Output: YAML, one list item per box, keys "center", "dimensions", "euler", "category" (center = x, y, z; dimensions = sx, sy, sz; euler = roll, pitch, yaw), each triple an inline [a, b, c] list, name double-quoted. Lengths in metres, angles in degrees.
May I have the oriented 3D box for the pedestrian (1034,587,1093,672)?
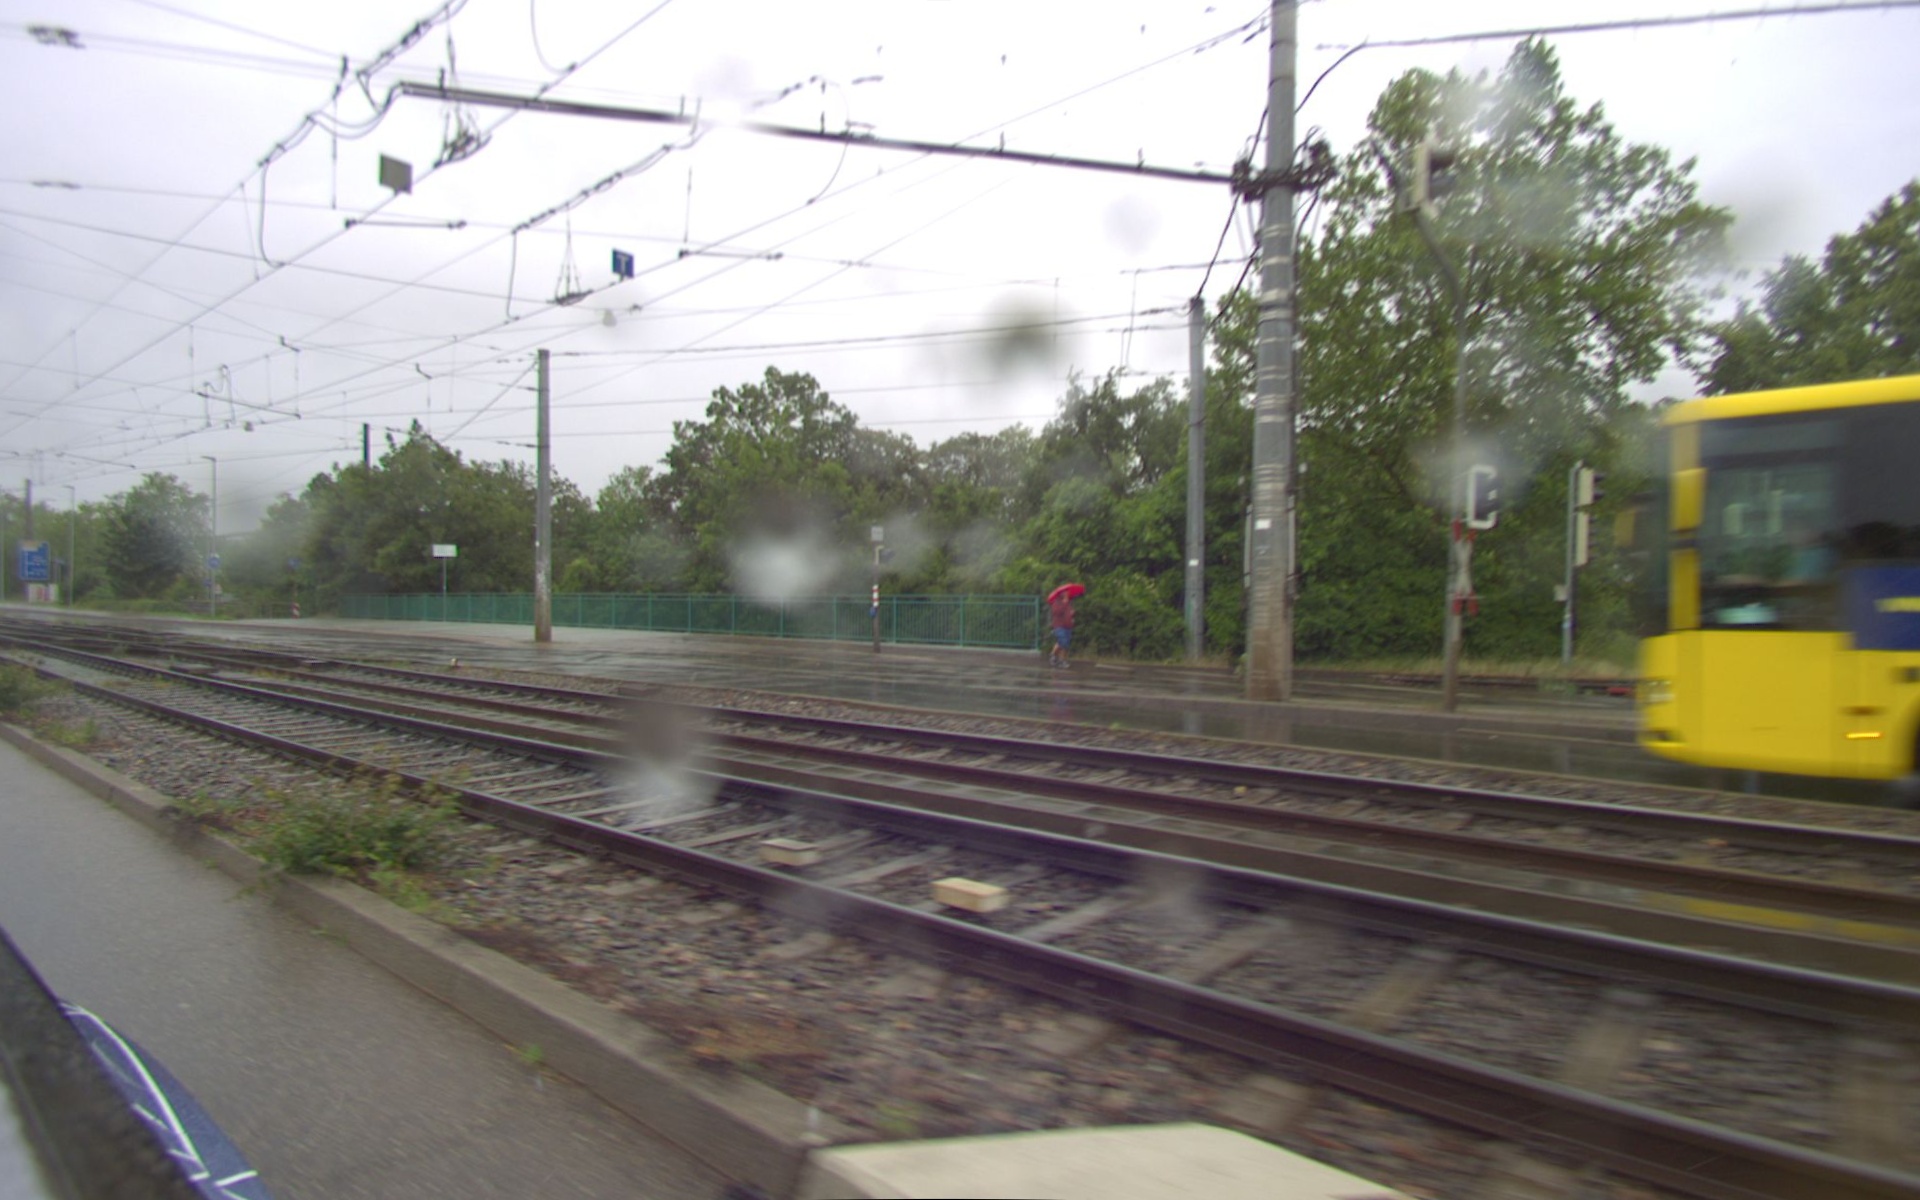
- center: [2.330, 0.639, 22.802]
  dimensions: [1.042, 1.832, 0.856]
  euler: [1, 2, 39]
  category: "pedestrian"

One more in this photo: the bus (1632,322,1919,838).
- center: [10.096, -0.187, 5.017]
  dimensions: [10.987, 3.367, 2.680]
  euler: [-2, -3, 41]
  category: "bus"
